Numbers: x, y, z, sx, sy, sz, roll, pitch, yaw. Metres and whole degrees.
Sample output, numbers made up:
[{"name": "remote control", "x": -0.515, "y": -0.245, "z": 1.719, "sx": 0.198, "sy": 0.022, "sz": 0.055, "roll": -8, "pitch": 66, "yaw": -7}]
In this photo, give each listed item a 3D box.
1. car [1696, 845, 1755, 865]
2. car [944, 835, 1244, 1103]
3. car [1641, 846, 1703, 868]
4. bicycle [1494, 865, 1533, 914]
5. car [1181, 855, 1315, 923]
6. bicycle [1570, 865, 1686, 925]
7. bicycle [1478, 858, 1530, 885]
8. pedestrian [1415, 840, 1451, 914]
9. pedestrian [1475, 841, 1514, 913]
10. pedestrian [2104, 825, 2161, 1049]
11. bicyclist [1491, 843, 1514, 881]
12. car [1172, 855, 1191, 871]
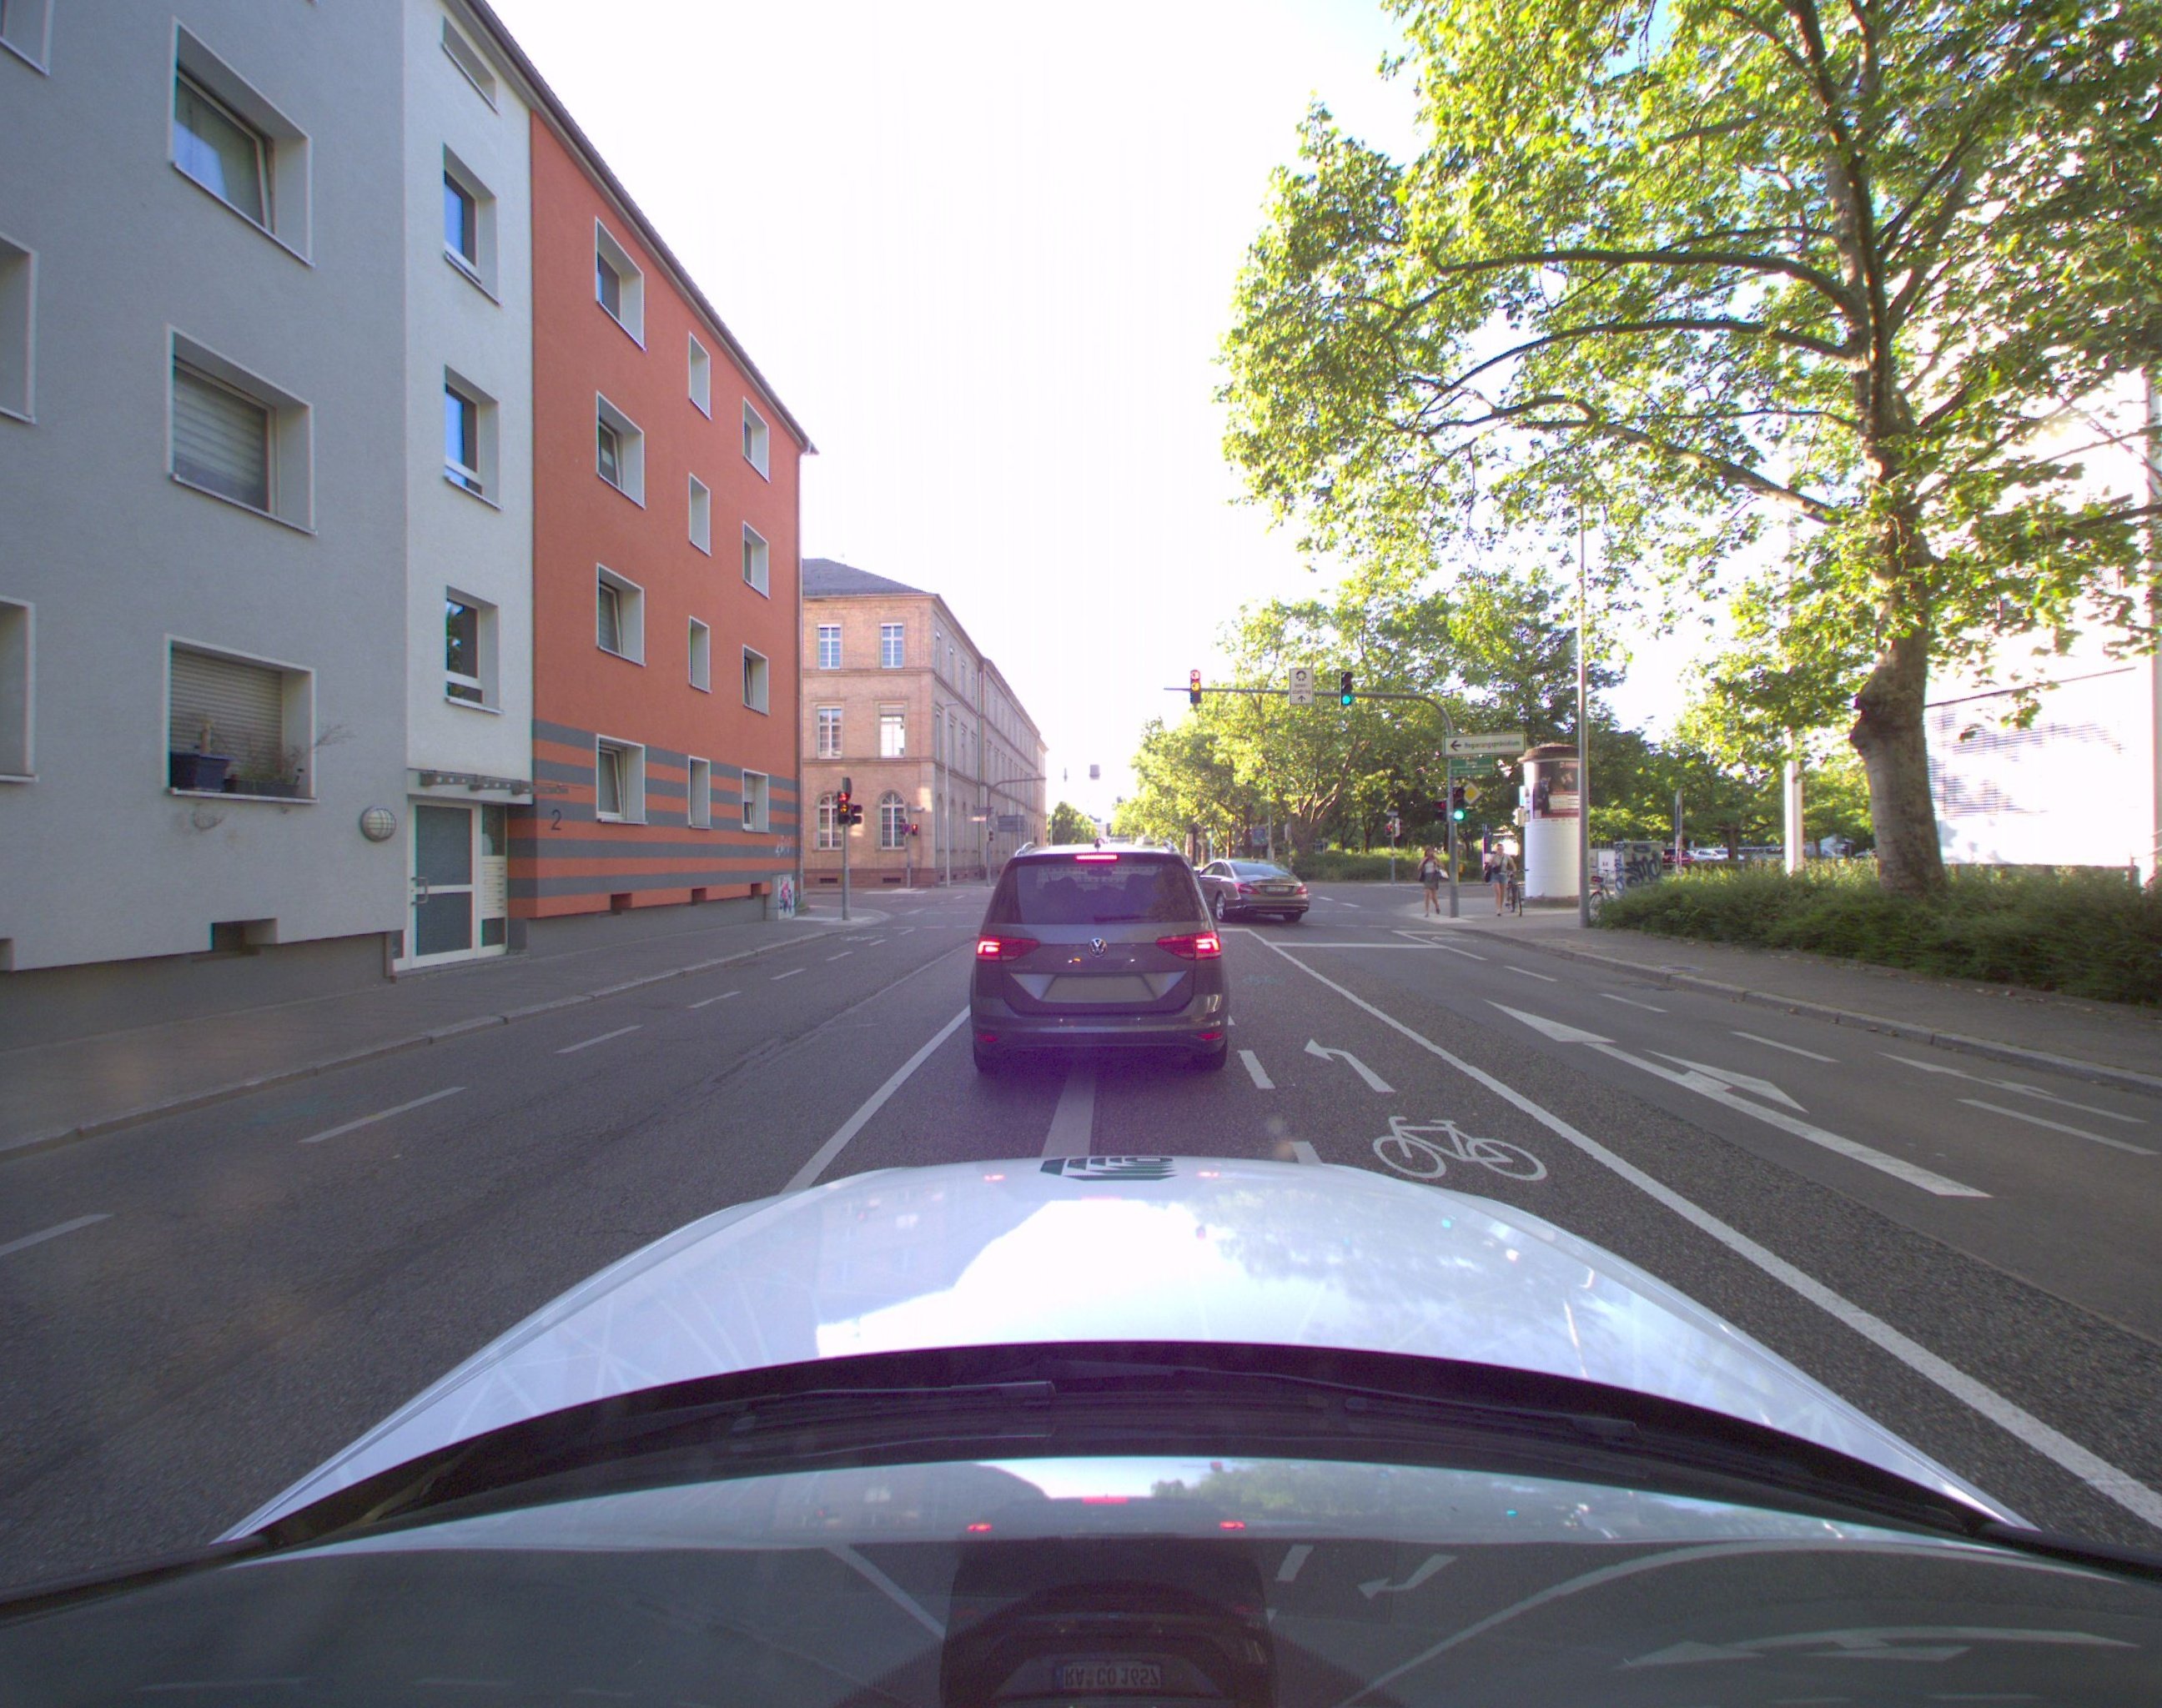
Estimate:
[{"name": "car", "x": 48.401, "y": 0.098, "z": 61.268, "sx": 1.566, "sy": 1.468, "sz": 3.797, "roll": 0, "pitch": 0, "yaw": 2}, {"name": "car", "x": 0.227, "y": 0.716, "z": 6.957, "sx": 1.801, "sy": 1.612, "sz": 4.005, "roll": -1, "pitch": 0, "yaw": 4}, {"name": "car", "x": 40.678, "y": 0.233, "z": 56.183, "sx": 1.623, "sy": 1.482, "sz": 3.797, "roll": 0, "pitch": 0, "yaw": 2}, {"name": "bicycle", "x": 10.452, "y": 0.835, "z": 19.708, "sx": 0.520, "sy": 1.100, "sz": 1.749, "roll": 0, "pitch": 0, "yaw": 17}, {"name": "car", "x": 3.818, "y": 0.753, "z": 19.467, "sx": 1.841, "sy": 1.429, "sz": 4.507, "roll": 0, "pitch": 0, "yaw": -6}, {"name": "bicycle", "x": 11.000, "y": 0.810, "z": 16.400, "sx": 1.968, "sy": 1.190, "sz": 0.528, "roll": 0, "pitch": -1, "yaw": 1}, {"name": "bicycle", "x": 18.949, "y": 0.781, "z": 36.490, "sx": 2.022, "sy": 1.220, "sz": 0.600, "roll": 0, "pitch": -1, "yaw": 2}, {"name": "pedestrian", "x": 8.751, "y": 0.570, "z": 20.264, "sx": 0.726, "sy": 1.808, "sz": 0.913, "roll": -2, "pitch": -2, "yaw": 20}, {"name": "pedestrian", "x": 10.015, "y": 0.534, "z": 19.742, "sx": 0.678, "sy": 1.697, "sz": 0.975, "roll": 0, "pitch": -1, "yaw": 17}, {"name": "pedestrian", "x": 8.266, "y": 0.593, "z": 5.775, "sx": 0.794, "sy": 1.630, "sz": 0.908, "roll": -3, "pitch": -1, "yaw": 4}, {"name": "bicyclist", "x": 18.872, "y": 0.360, "z": 36.496, "sx": 0.707, "sy": 1.697, "sz": 0.676, "roll": 0, "pitch": -1, "yaw": 3}, {"name": "car", "x": 10.177, "y": 0.919, "z": 82.507, "sx": 1.682, "sy": 1.440, "sz": 3.906, "roll": 3, "pitch": 0, "yaw": 4}]
